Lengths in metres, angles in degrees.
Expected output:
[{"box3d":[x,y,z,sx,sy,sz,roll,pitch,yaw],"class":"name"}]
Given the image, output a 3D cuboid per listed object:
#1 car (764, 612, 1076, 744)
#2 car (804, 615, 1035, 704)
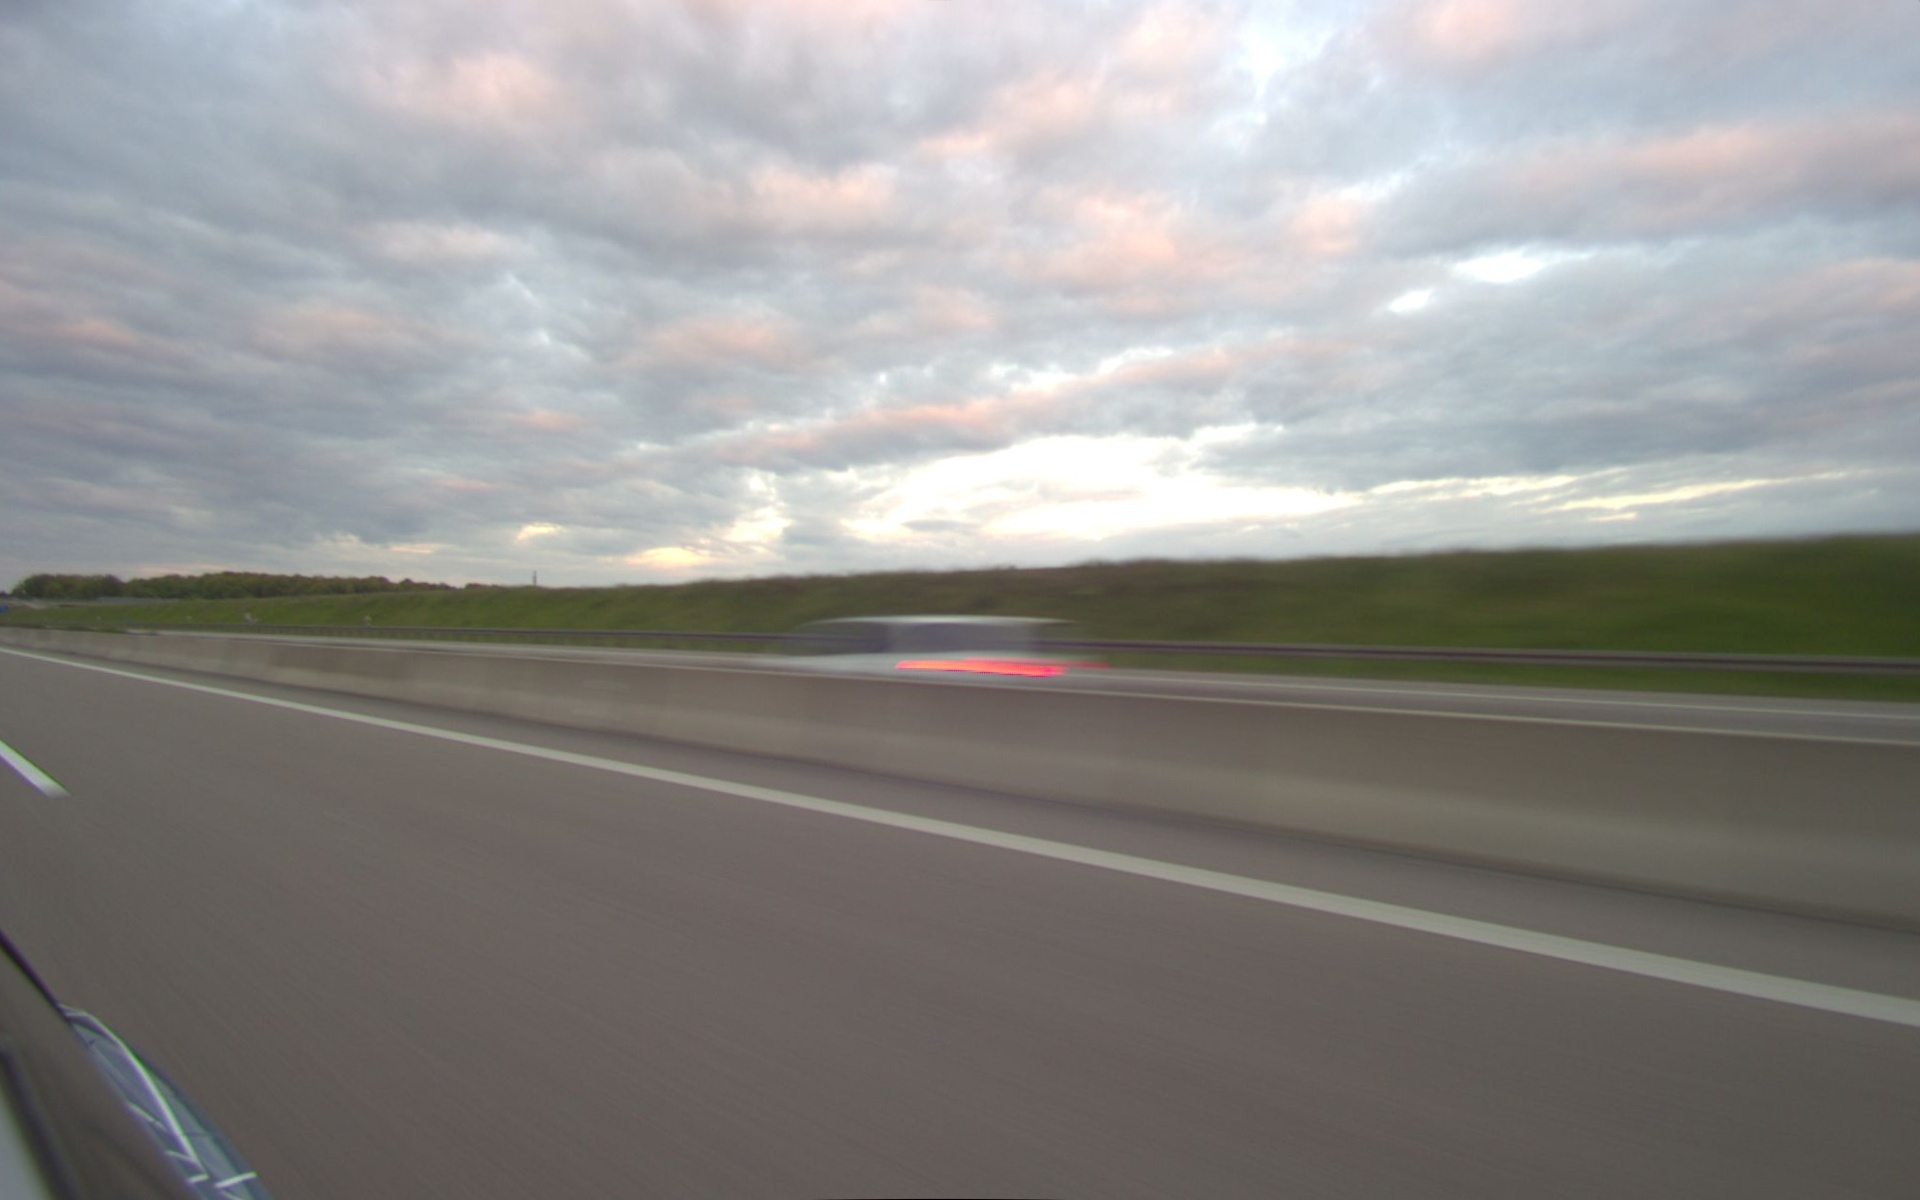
[{"box3d":[-0.718,1.018,14.733,4.641,1.610,1.731,-1,-1,42],"class":"car"},{"box3d":[-0.906,1.138,20.548,4.569,1.599,1.982,-1,-2,40],"class":"car"}]
